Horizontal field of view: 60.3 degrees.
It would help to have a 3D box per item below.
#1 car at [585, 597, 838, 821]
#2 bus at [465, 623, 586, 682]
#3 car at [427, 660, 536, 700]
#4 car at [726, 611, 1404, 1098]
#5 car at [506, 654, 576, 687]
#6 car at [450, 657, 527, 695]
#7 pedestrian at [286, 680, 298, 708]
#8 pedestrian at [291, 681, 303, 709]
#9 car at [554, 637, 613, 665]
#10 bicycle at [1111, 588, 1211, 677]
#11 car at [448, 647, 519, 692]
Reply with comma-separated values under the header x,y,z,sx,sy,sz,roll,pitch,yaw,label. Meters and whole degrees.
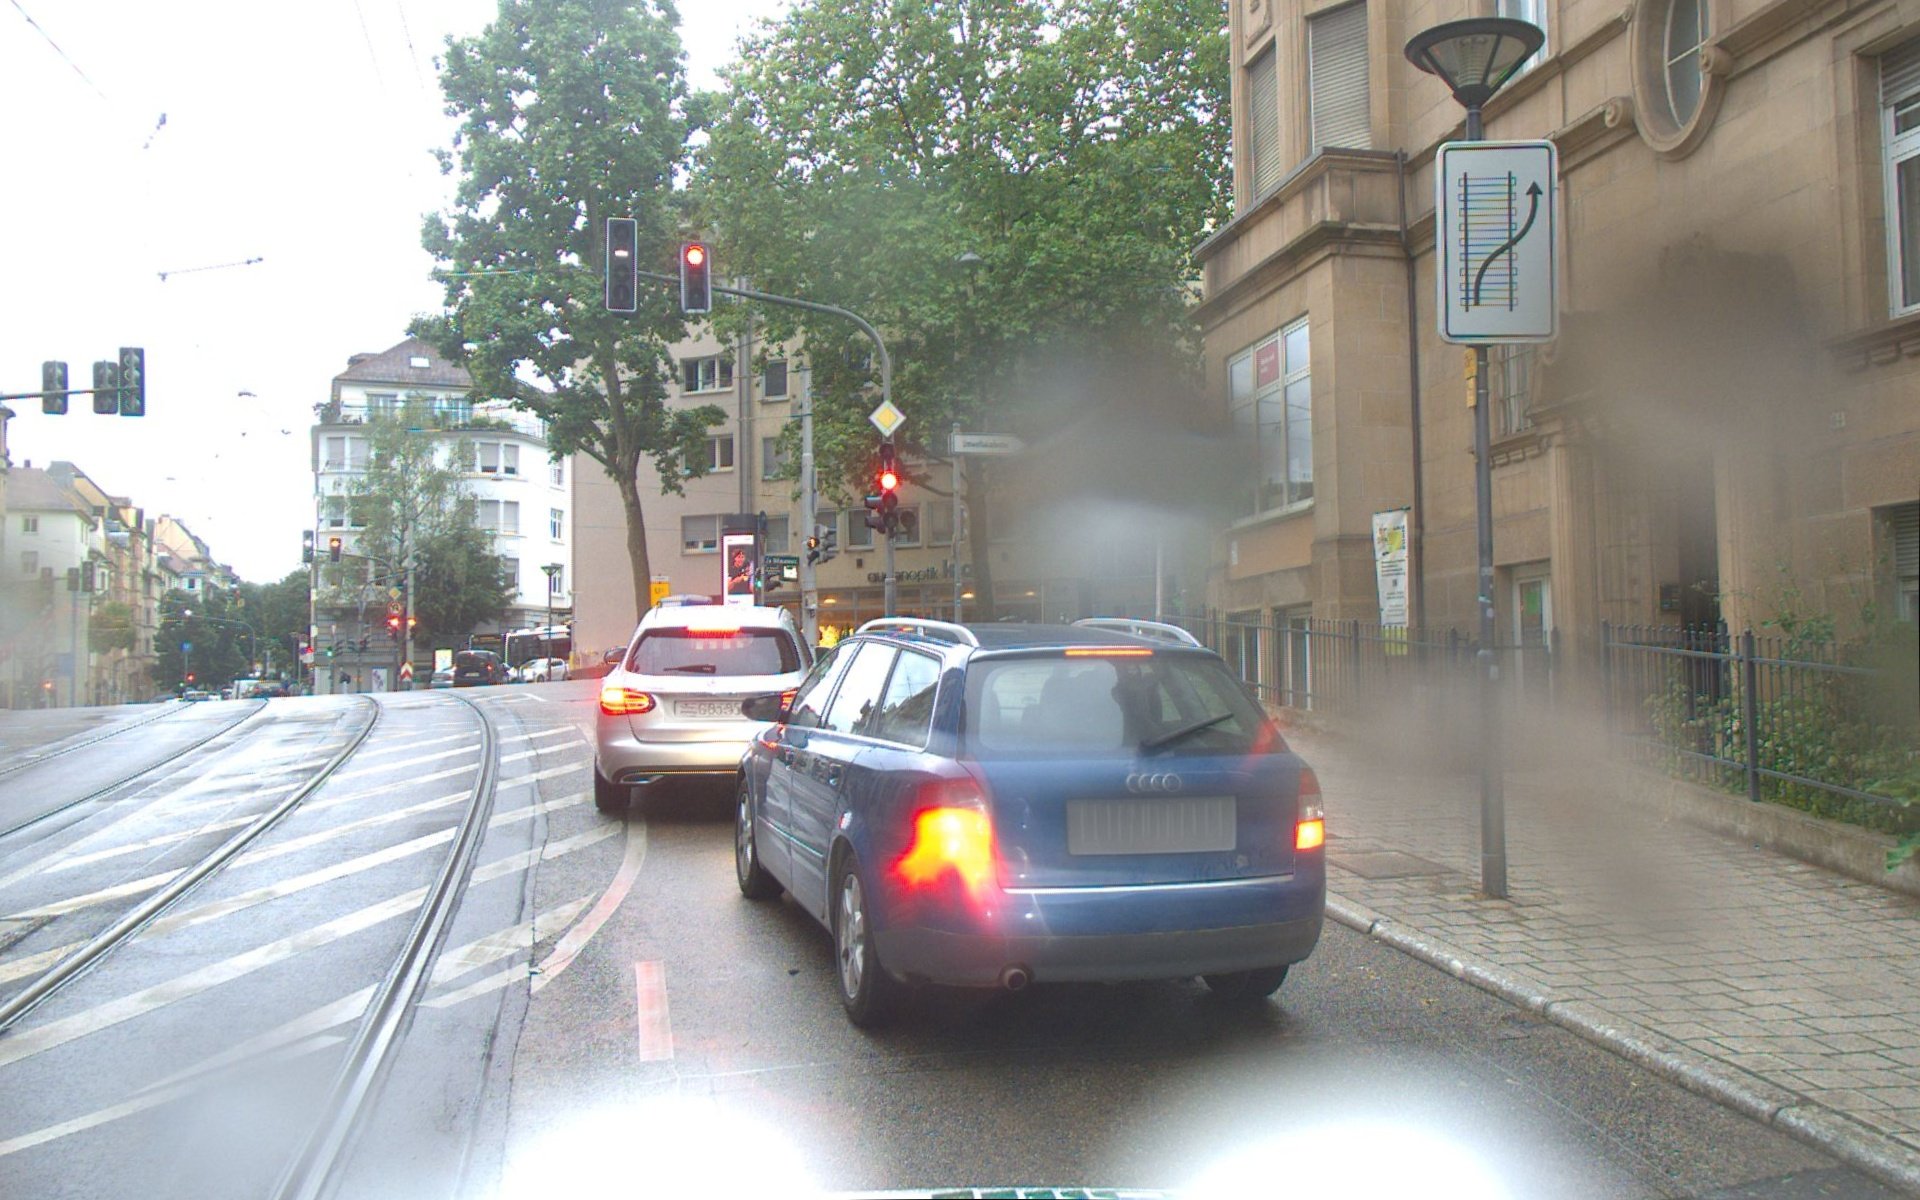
x,y,z,sx,sy,sz,roll,pitch,yaw,label
-1.900,0.721,12.887,1.678,1.481,3.546,0,0,-8,car
-24.496,2.916,93.859,2.793,2.911,8.741,-1,0,13,bus
-21.962,3.645,76.036,1.765,1.537,4.644,-1,0,38,car
0.116,0.792,7.229,1.683,1.440,4.017,0,0,-17,car
-22.300,3.762,88.164,1.756,1.536,4.002,-1,0,17,car
-23.537,3.776,82.673,1.756,1.642,4.002,-1,0,17,car
-41.664,5.879,103.120,0.639,1.690,0.646,0,-1,-21,pedestrian
-40.425,5.778,100.805,0.639,1.690,0.646,0,-1,-21,pedestrian
-23.078,3.124,101.481,1.756,1.536,4.002,-1,0,17,car
2.882,0.453,23.755,1.278,1.194,0.524,-3,0,-13,bicycle
-19.461,2.809,67.683,1.758,1.536,3.999,-3,0,-2,car
